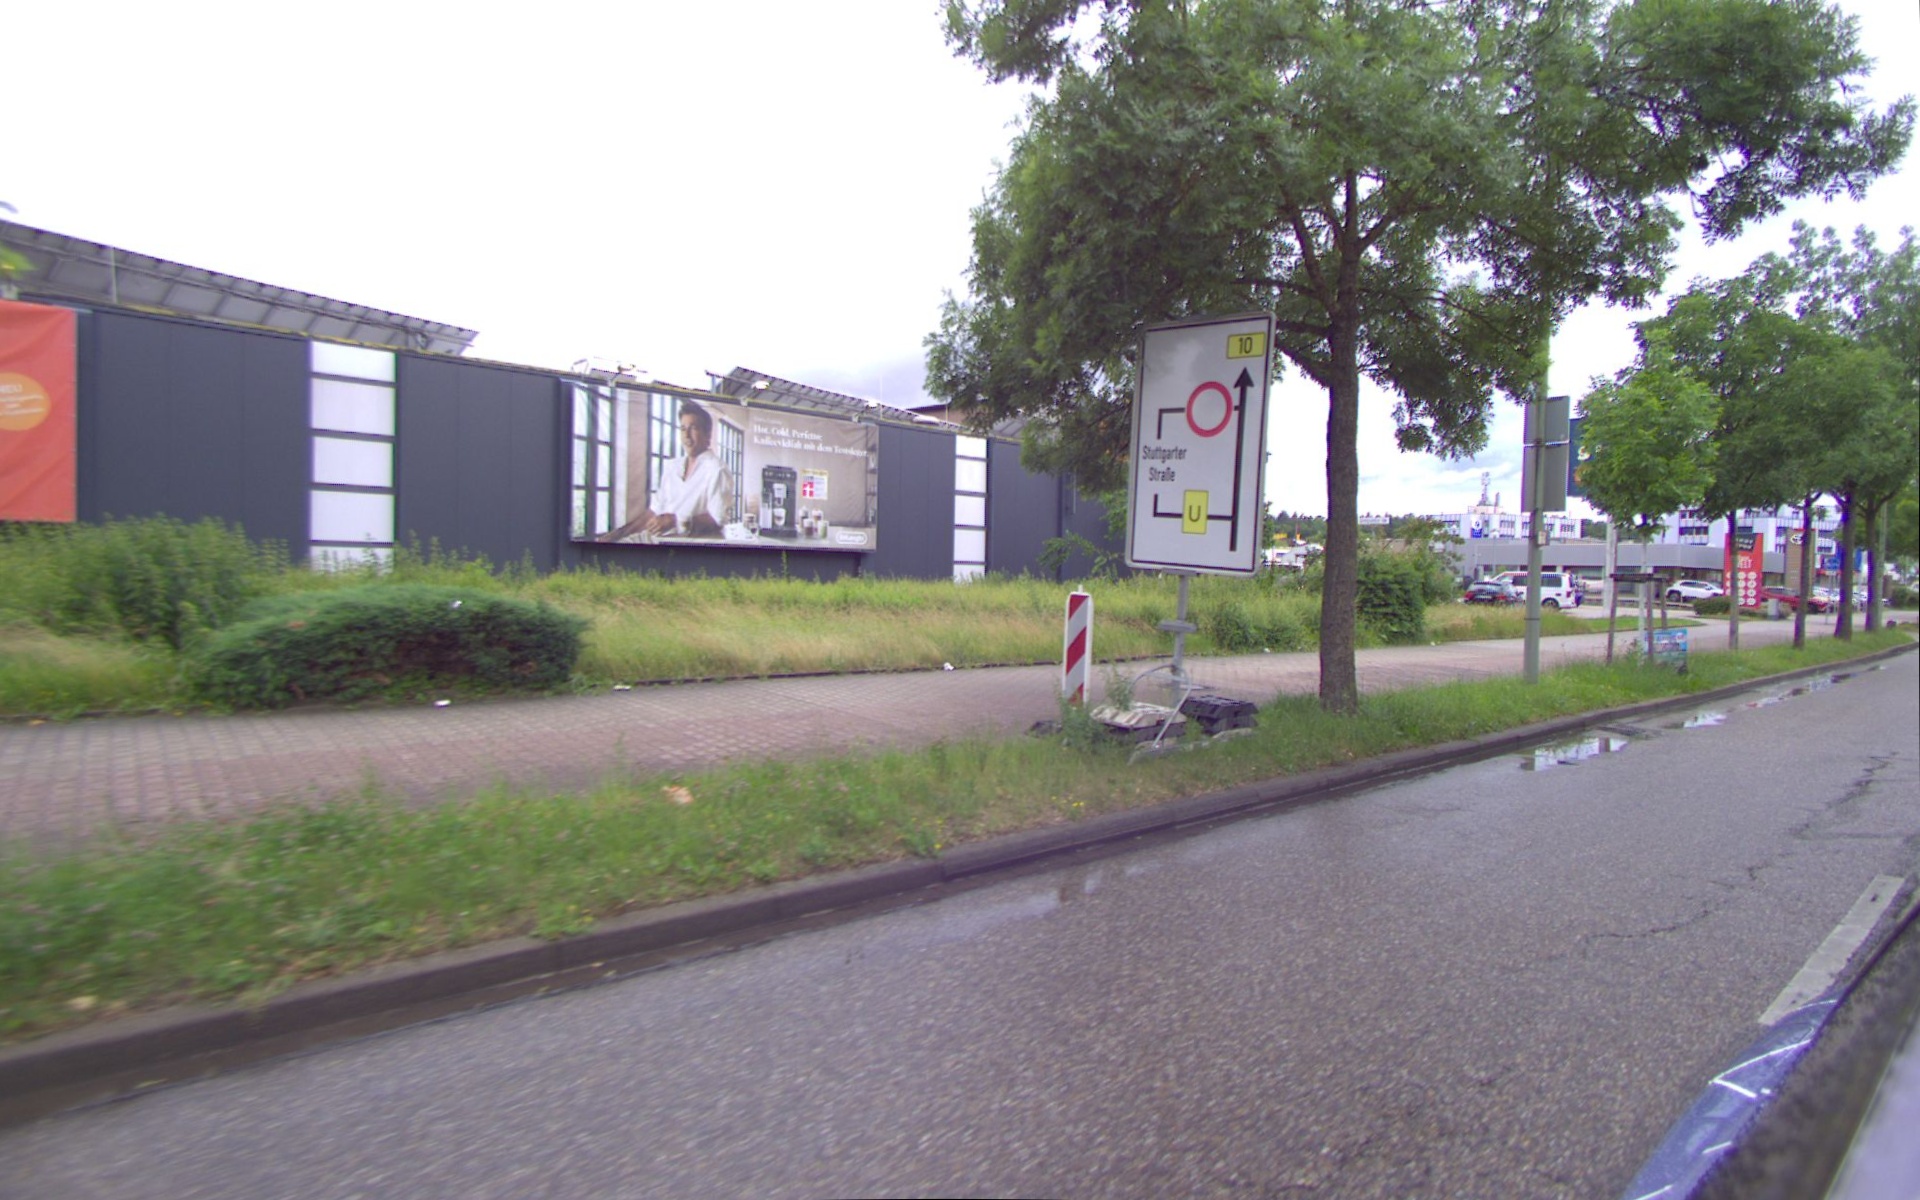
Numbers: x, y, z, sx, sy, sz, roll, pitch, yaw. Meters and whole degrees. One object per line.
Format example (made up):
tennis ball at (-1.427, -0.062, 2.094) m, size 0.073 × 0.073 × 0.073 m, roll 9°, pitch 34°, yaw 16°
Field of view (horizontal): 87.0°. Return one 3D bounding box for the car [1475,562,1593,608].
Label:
car at (29.261, -0.808, 51.692) m, size 4.939 × 2.038 × 1.973 m, roll 4°, pitch 3°, yaw 38°

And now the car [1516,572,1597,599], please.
car at (35.840, -0.869, 60.858) m, size 3.980 × 1.415 × 1.653 m, roll 4°, pitch 3°, yaw 38°

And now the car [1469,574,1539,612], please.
car at (22.334, -0.310, 41.480) m, size 1.747 × 1.430 × 4.078 m, roll 4°, pitch 3°, yaw 39°
